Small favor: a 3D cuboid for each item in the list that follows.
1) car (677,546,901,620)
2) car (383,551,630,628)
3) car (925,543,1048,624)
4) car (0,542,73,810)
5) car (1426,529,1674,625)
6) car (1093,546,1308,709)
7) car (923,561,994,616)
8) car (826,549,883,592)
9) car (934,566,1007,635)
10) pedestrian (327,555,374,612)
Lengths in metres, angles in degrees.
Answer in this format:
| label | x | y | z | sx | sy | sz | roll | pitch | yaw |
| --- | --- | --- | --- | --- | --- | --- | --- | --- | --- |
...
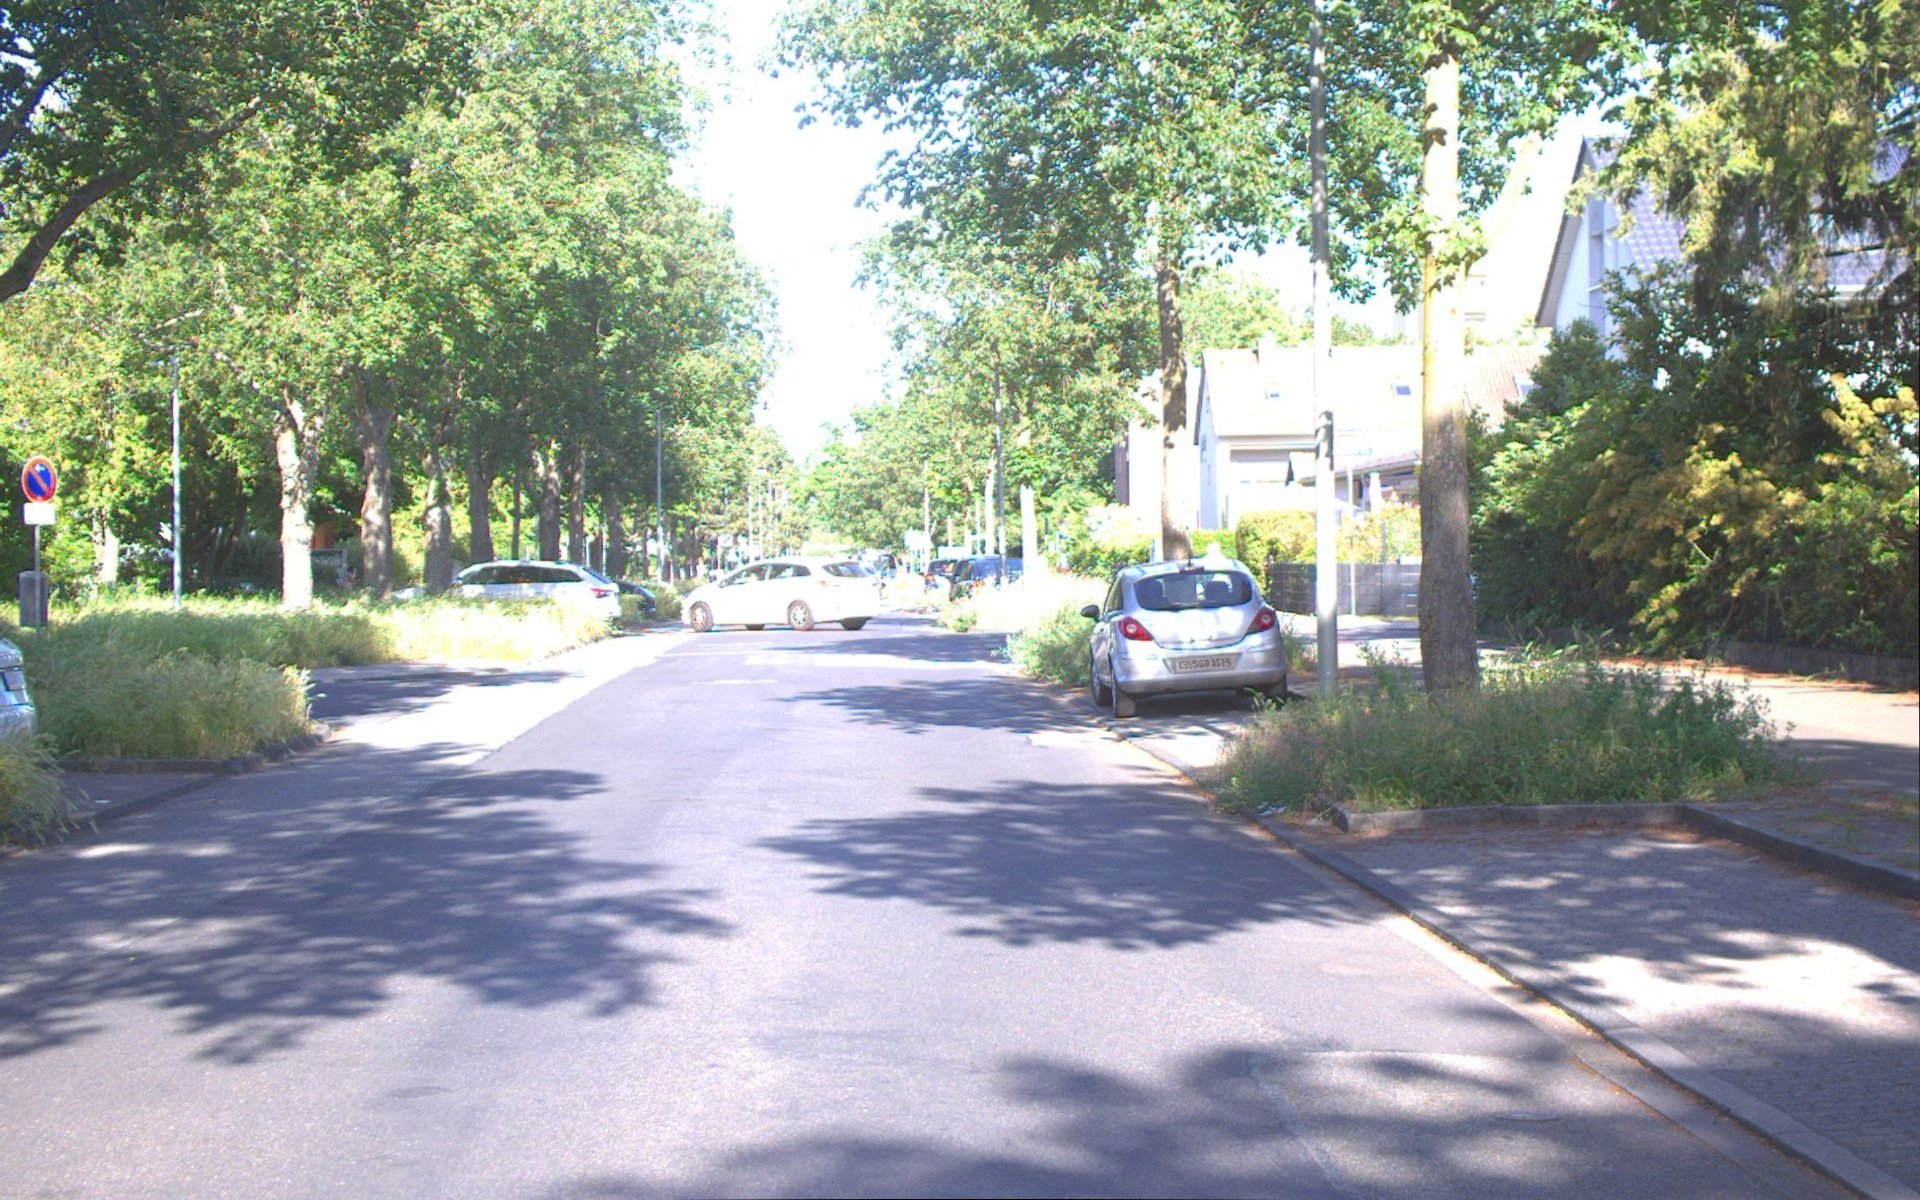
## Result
| label | x | y | z | sx | sy | sz | roll | pitch | yaw |
| --- | --- | --- | --- | --- | --- | --- | --- | --- | --- |
| car | -3.466 | -0.356 | 69.497 | 4.220 | 1.450 | 1.996 | 0 | 1 | 37 |
| car | -8.995 | -0.212 | 68.428 | 4.671 | 1.498 | 2.000 | 0 | 1 | 0 |
| car | 0.548 | -0.371 | 74.916 | 1.993 | 1.616 | 4.383 | 3 | 0 | -8 |
| car | -7.940 | 0.454 | 22.169 | 3.986 | 1.655 | 1.967 | 0 | 1 | -3 |
| car | 10.495 | -0.427 | 61.252 | 3.986 | 1.634 | 1.777 | -1 | 1 | -8 |
| car | 2.446 | 0.263 | 34.553 | 1.994 | 1.505 | 3.999 | -1 | 0 | 5 |
| car | -0.083 | -0.361 | 113.694 | 1.993 | 1.722 | 4.000 | -2 | 0 | -4 |
| car | -3.975 | -1.087 | 128.552 | 1.993 | 1.503 | 3.659 | 3 | 0 | -3 |
| car | 0.244 | -0.003 | 86.340 | 1.610 | 1.616 | 4.382 | 3 | 0 | -2 |
| pedestrian | -19.796 | -0.536 | 111.649 | 1.224 | 1.821 | 1.551 | 1 | 0 | -18 |
